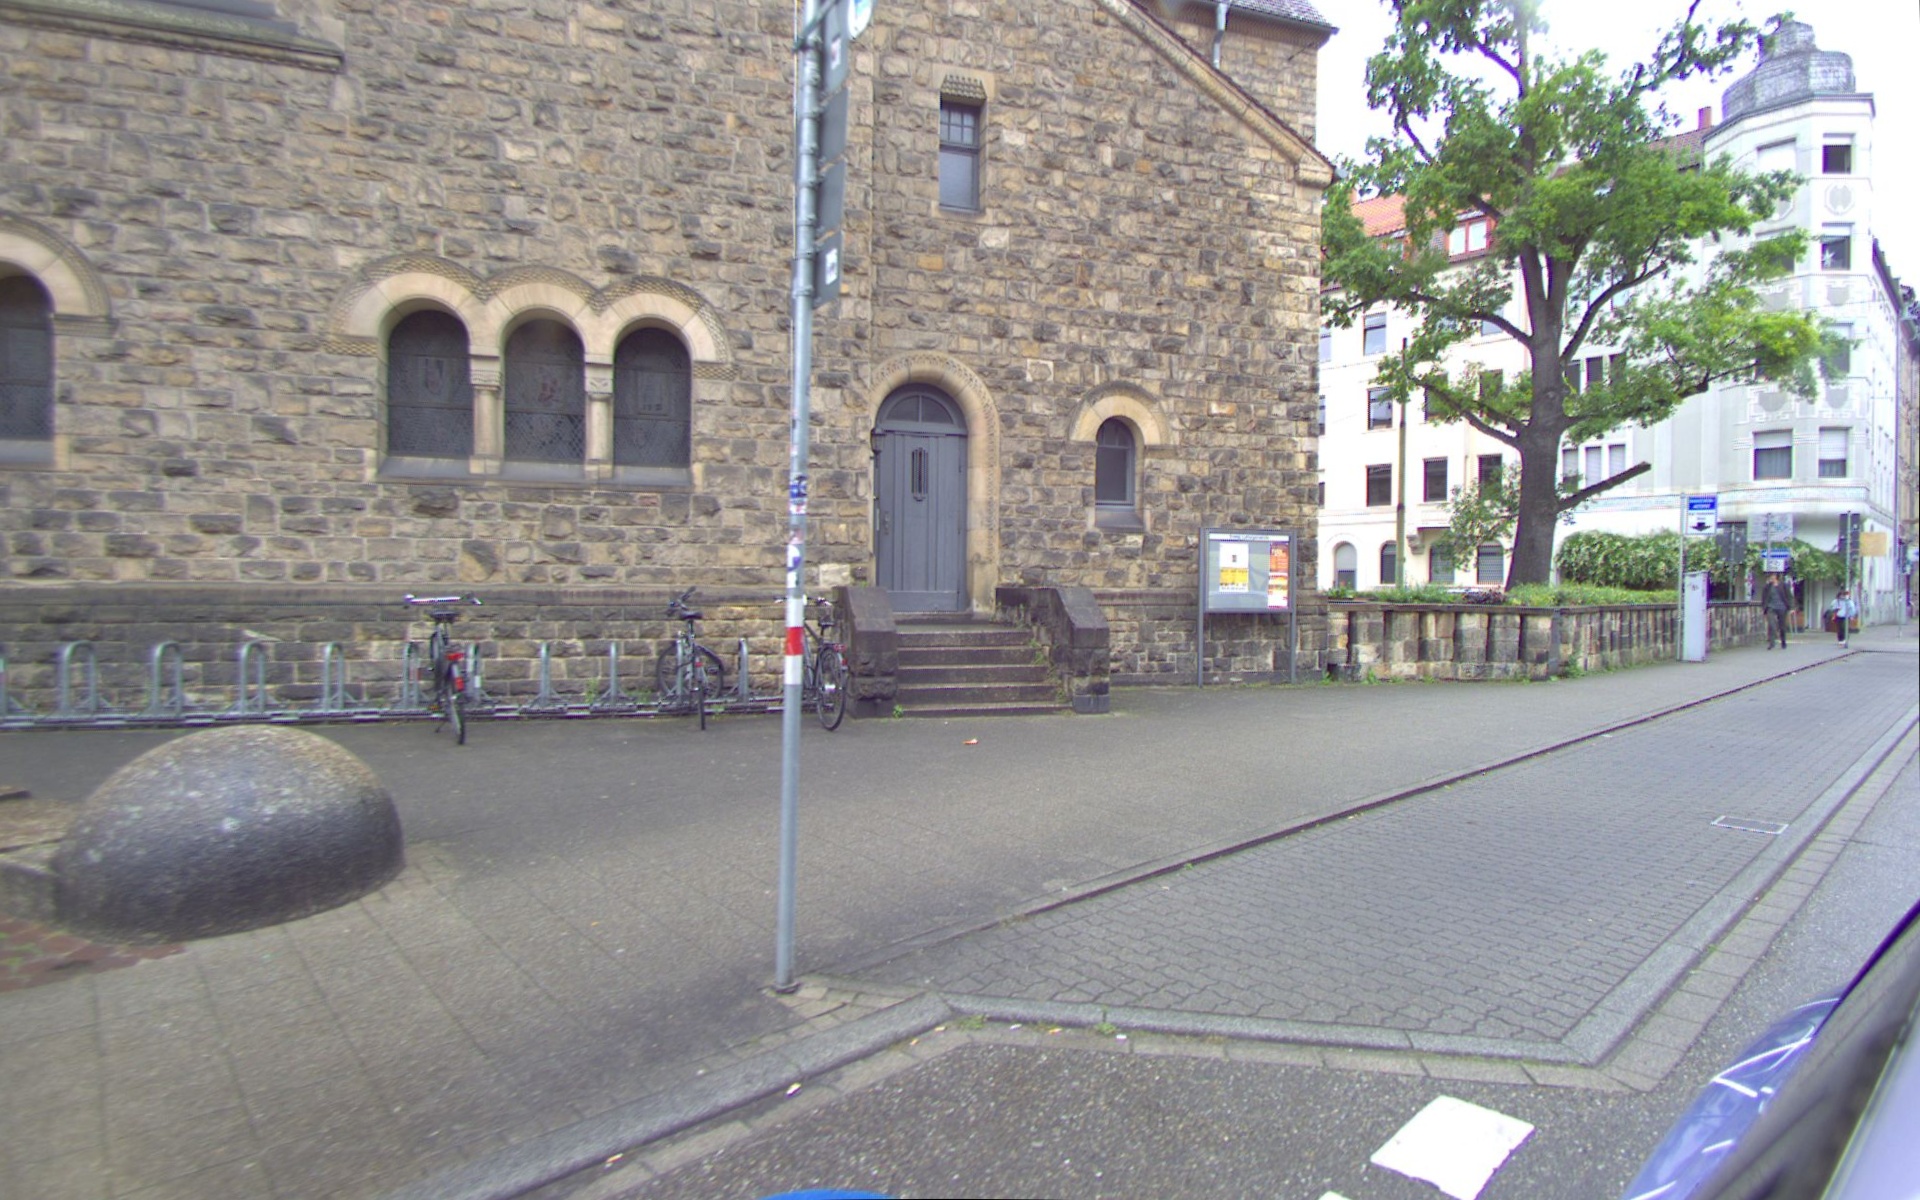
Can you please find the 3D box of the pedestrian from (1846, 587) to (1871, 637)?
[{"bbox_3d":[26.687,0.351,30.049,0.386,1.479,0.481,0,1,-42],"label":"pedestrian"}]

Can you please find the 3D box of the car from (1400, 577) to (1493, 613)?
[{"bbox_3d":[20.742,-0.229,43.198,1.421,1.427,3.271,0,2,-39],"label":"car"}]

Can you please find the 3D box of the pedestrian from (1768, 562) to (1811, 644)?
[{"bbox_3d":[19.688,0.056,24.022,0.681,1.896,0.645,0,1,-42],"label":"pedestrian"}]

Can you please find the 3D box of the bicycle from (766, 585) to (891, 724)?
[{"bbox_3d":[-1.272,0.437,9.385,0.502,1.067,1.995,0,3,-27],"label":"bicycle"}]

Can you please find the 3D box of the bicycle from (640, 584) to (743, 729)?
[{"bbox_3d":[-2.487,0.454,9.247,0.550,1.125,1.718,0,3,-27],"label":"bicycle"}]

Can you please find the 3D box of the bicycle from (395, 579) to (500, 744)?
[{"bbox_3d":[-4.247,0.423,8.314,0.677,1.118,1.994,0,3,-30],"label":"bicycle"}]

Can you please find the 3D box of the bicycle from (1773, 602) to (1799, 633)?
[{"bbox_3d":[28.088,0.579,34.398,1.990,0.904,0.390,-3,4,-42],"label":"bicycle"}]
